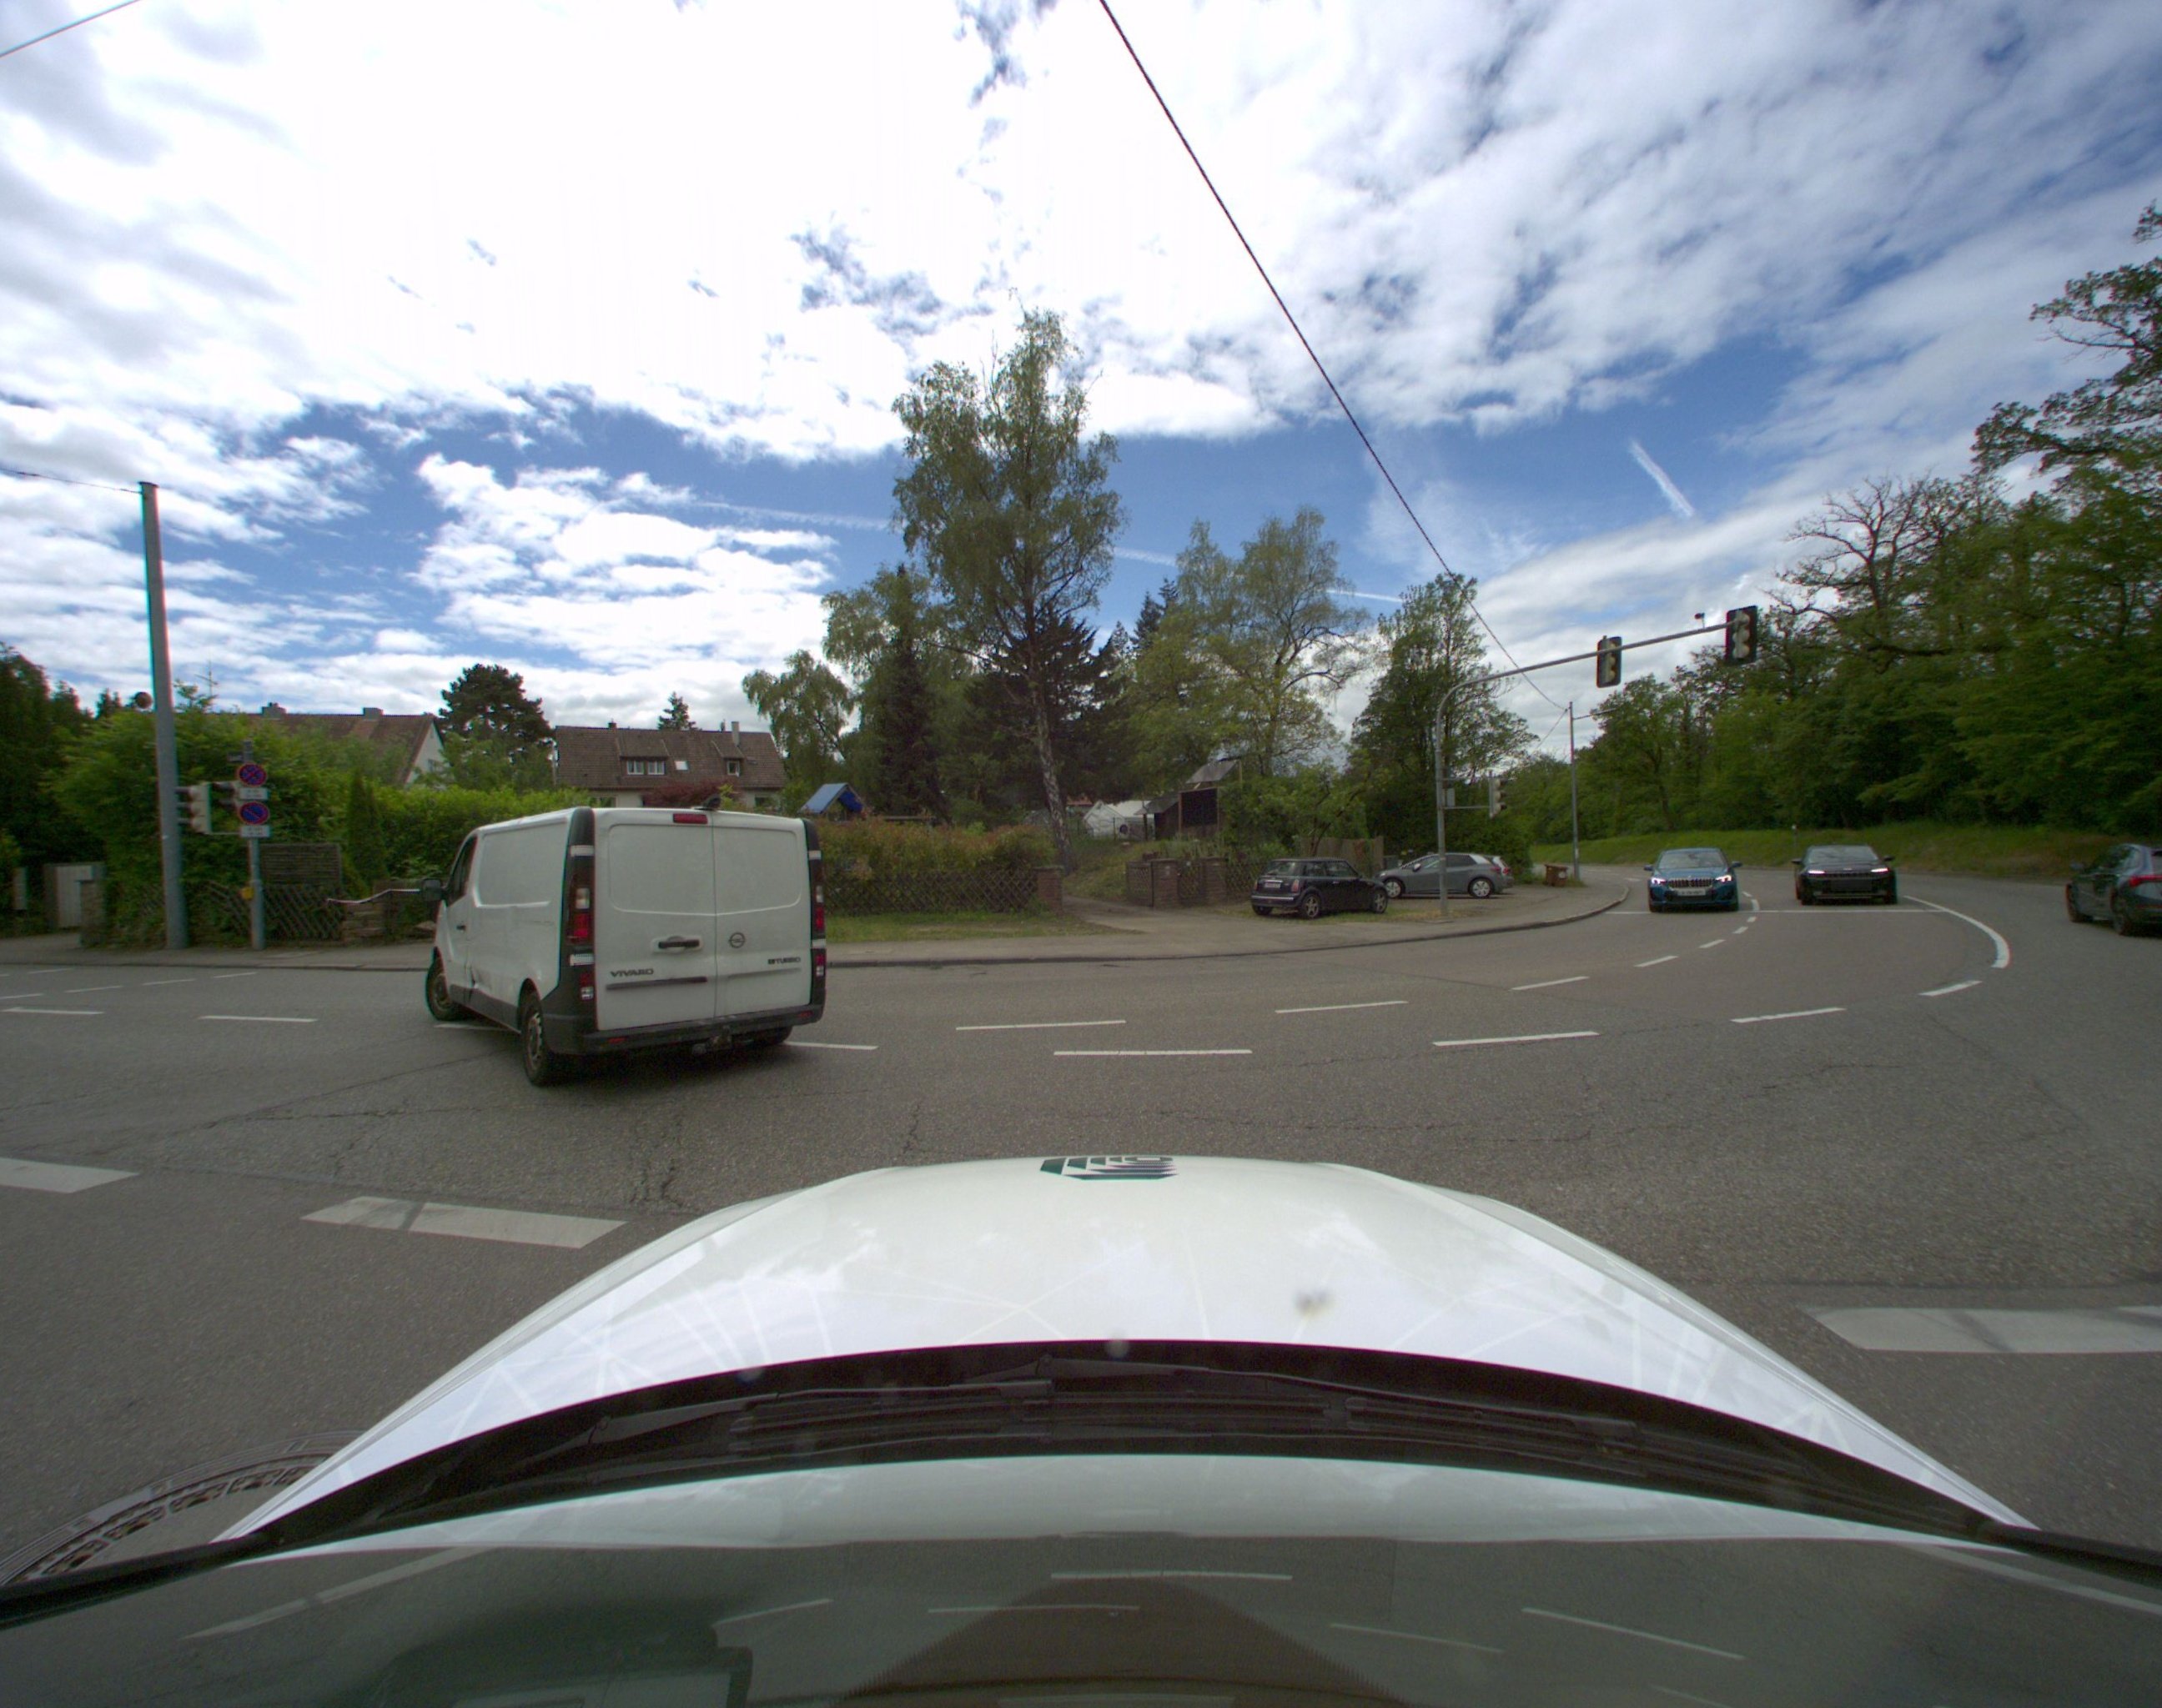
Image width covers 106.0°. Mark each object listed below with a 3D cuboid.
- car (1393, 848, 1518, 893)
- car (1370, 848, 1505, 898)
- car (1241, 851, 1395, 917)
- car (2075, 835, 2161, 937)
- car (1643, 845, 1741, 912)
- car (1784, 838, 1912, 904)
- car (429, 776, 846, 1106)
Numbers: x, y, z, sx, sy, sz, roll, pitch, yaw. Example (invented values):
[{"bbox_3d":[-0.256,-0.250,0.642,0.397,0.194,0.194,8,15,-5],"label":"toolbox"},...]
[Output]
[{"bbox_3d":[13.827,0.612,30.278,4.050,1.553,1.865,-2,0,22],"label":"car"},{"bbox_3d":[12.106,0.647,27.834,4.050,1.553,1.865,-2,0,22],"label":"car"},{"bbox_3d":[5.777,0.662,19.774,3.556,1.449,1.685,-1,0,-33],"label":"car"},{"bbox_3d":[17.394,0.434,12.970,4.022,1.450,1.777,-1,0,-42],"label":"car"},{"bbox_3d":[16.164,0.607,21.523,1.839,1.507,4.026,-4,-2,38],"label":"car"},{"bbox_3d":[20.024,0.405,21.431,1.798,1.507,4.026,-4,-1,35],"label":"car"},{"bbox_3d":[-4.206,0.521,7.327,4.556,2.053,1.934,0,1,43],"label":"car"}]
